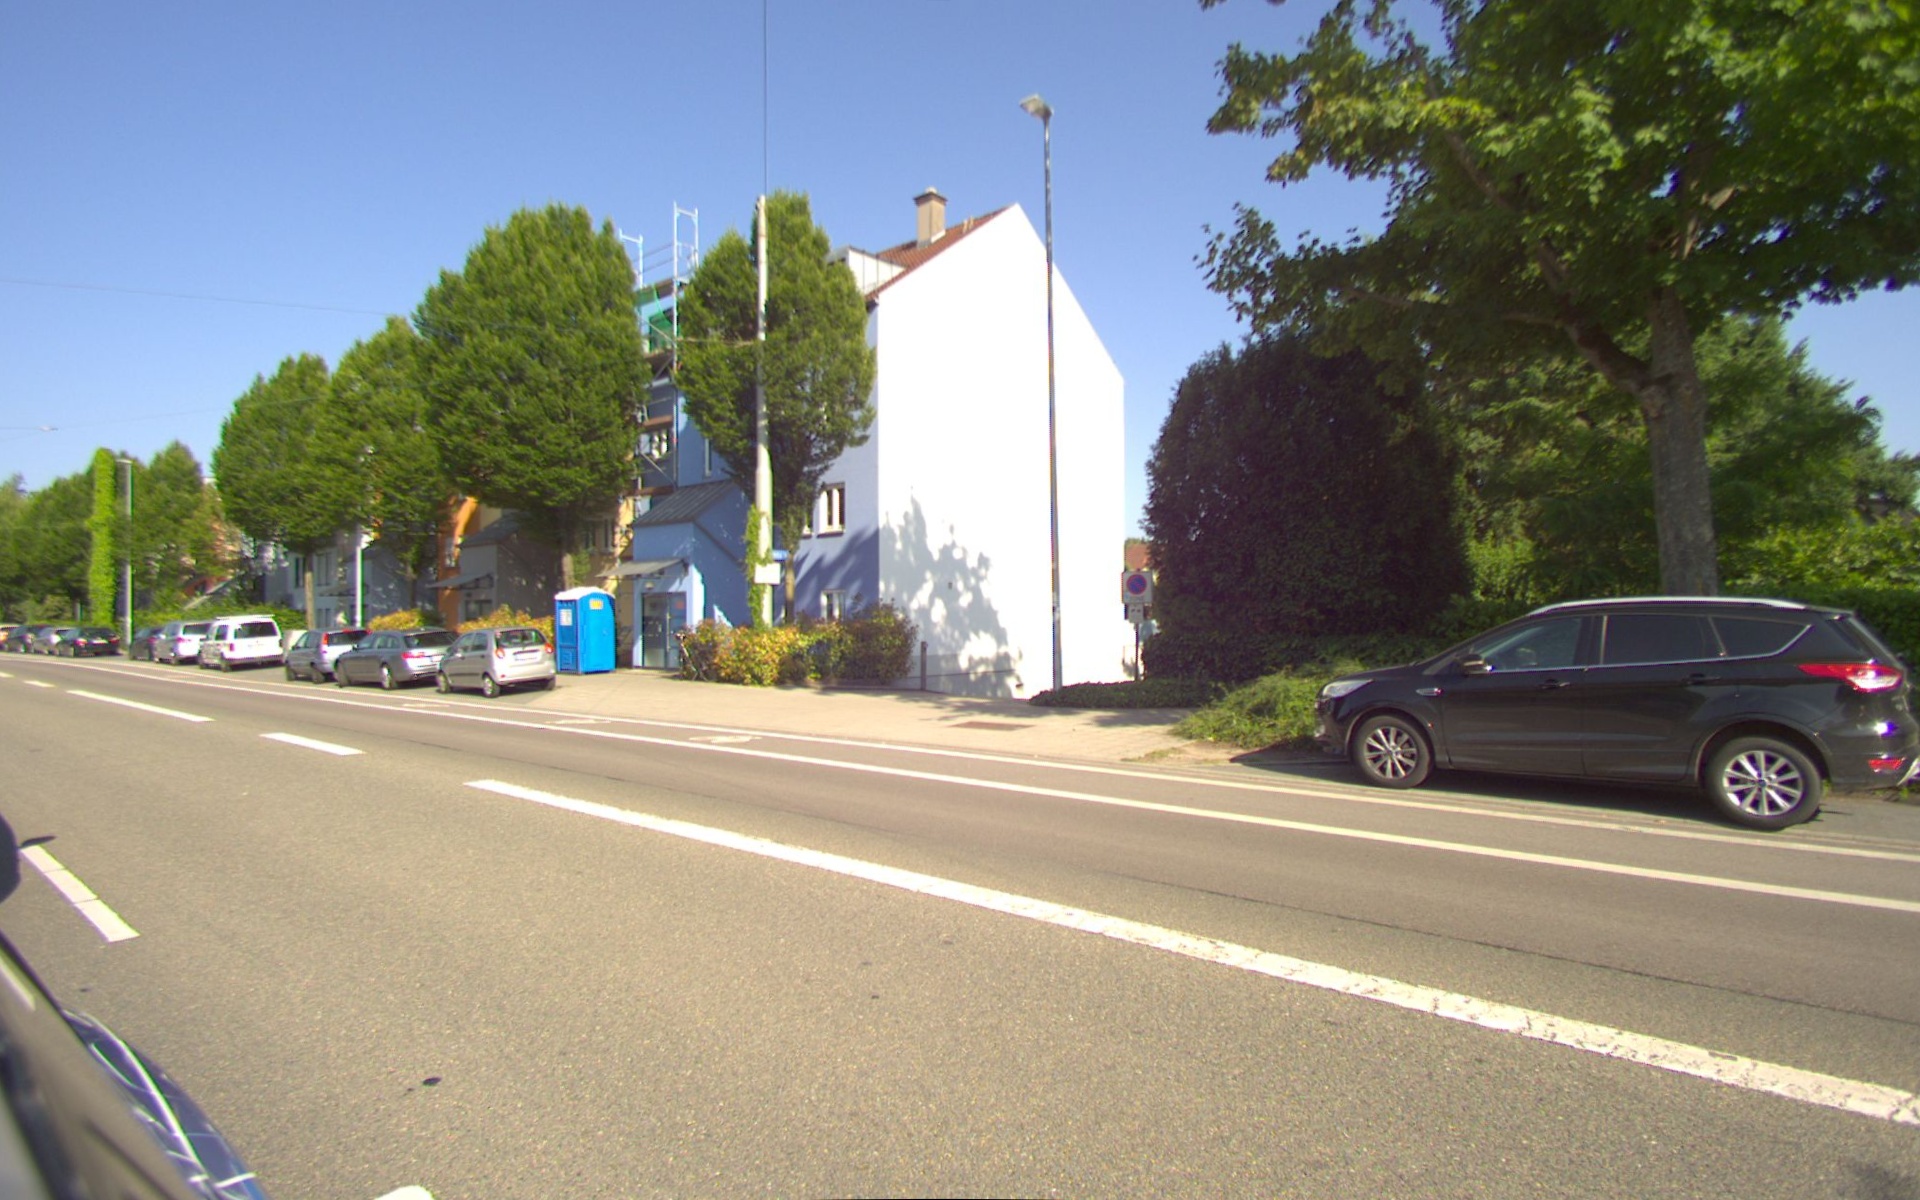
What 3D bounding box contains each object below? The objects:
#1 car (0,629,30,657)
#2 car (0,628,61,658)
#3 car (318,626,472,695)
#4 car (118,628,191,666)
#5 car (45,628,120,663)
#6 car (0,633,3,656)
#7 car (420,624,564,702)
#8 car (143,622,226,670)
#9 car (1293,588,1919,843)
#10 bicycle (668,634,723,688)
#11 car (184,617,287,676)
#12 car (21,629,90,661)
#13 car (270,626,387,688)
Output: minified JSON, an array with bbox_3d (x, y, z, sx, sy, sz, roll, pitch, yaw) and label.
[{"bbox_3d":[-57.699,2.561,60.820,4.151,1.586,1.748,-1,-1,34],"label":"car"},{"bbox_3d":[-52.943,2.414,57.370,4.420,1.586,1.750,-1,0,31],"label":"car"},{"bbox_3d":[-14.709,1.509,26.253,4.749,1.522,1.732,-2,3,38],"label":"car"},{"bbox_3d":[-34.897,2.003,43.831,4.053,1.477,1.600,-1,0,39],"label":"car"},{"bbox_3d":[-43.947,2.248,50.653,4.901,1.556,1.849,-1,1,37],"label":"car"},{"bbox_3d":[-62.116,2.793,63.786,4.700,1.435,1.638,-2,-2,34],"label":"car"},{"bbox_3d":[-10.707,1.379,23.067,3.506,1.505,1.585,-1,3,40],"label":"car"},{"bbox_3d":[-30.880,1.785,40.247,4.821,1.713,1.651,-1,0,41],"label":"car"},{"bbox_3d":[5.400,0.829,8.838,4.420,1.707,1.694,-2,-2,41],"label":"car"},{"bbox_3d":[-6.042,1.370,23.090,0.438,1.163,1.786,1,-1,-42],"label":"bicycle"},{"bbox_3d":[-26.047,1.624,36.333,4.575,1.859,1.746,-1,3,39],"label":"car"},{"bbox_3d":[-48.554,2.384,54.301,4.834,1.482,1.697,0,1,36],"label":"car"},{"bbox_3d":[-18.512,1.616,29.606,3.979,1.550,1.745,-1,3,41],"label":"car"}]
